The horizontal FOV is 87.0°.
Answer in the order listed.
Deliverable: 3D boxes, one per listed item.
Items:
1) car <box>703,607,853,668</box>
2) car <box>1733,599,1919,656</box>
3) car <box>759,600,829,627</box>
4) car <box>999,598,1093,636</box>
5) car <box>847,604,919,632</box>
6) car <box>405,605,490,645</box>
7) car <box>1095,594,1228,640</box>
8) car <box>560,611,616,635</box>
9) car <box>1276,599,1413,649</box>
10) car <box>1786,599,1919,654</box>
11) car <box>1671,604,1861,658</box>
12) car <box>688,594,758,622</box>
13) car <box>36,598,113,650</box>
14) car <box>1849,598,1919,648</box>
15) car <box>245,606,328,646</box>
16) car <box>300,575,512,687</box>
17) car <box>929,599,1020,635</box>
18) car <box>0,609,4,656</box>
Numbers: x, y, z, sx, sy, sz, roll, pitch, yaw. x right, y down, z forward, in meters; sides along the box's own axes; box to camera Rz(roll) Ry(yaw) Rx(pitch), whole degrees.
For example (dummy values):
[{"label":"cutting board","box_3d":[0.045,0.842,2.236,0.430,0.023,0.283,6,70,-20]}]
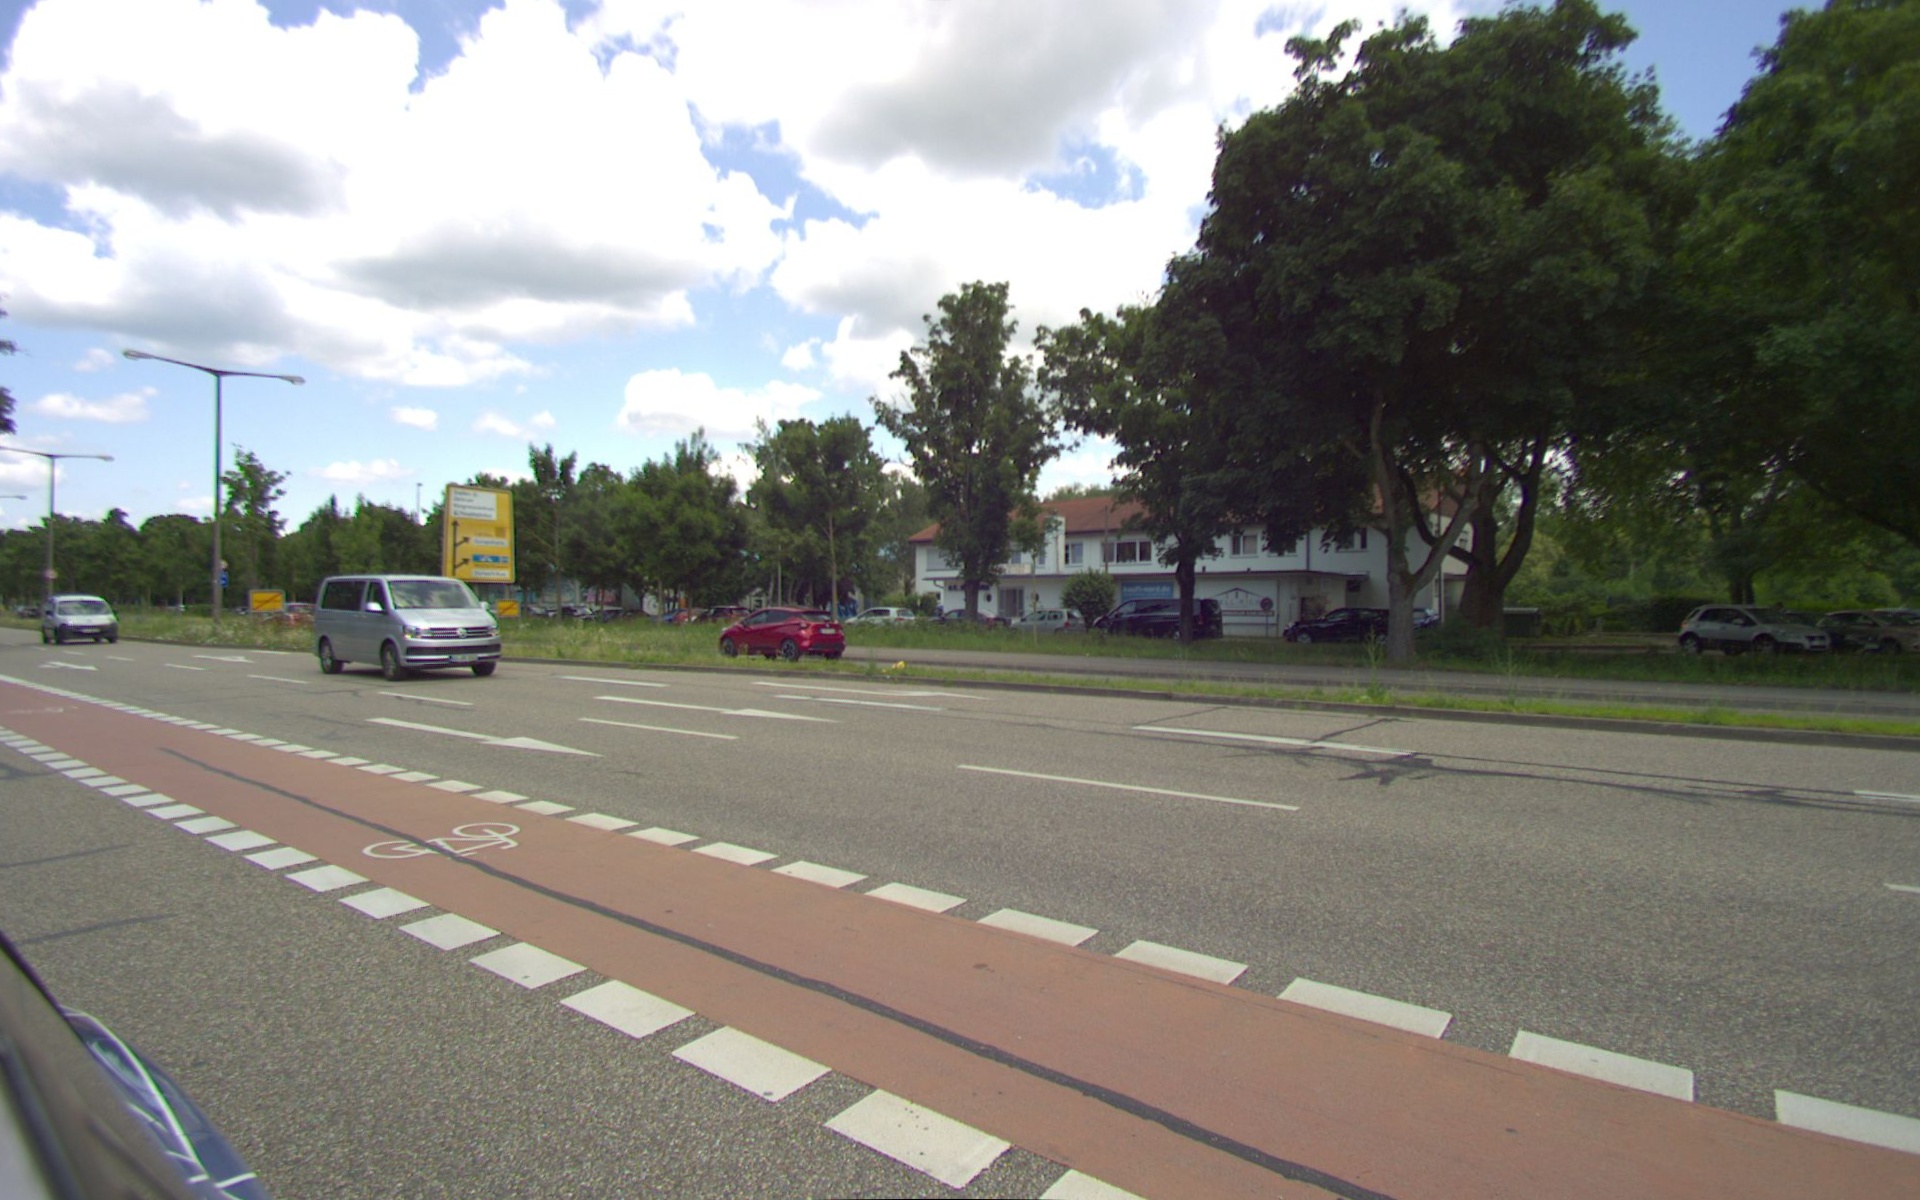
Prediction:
[{"label":"car","box_3d":[-4.988,0.958,27.556,3.995,1.523,1.869,0,0,38]},{"label":"car","box_3d":[26.318,0.814,30.822,1.967,1.600,4.033,1,-1,-13]},{"label":"car","box_3d":[-8.938,0.742,54.365,3.864,1.422,1.707,-1,-1,42]},{"label":"car","box_3d":[3.716,0.737,43.924,3.665,1.600,1.896,-1,-1,41]},{"label":"car","box_3d":[-3.823,0.873,50.037,3.475,1.342,1.604,-1,-1,42]},{"label":"car","box_3d":[-20.065,0.940,39.581,3.589,1.456,1.596,0,0,38]},{"label":"car","box_3d":[7.907,0.658,39.975,4.927,1.724,1.863,-1,-1,42]},{"label":"car","box_3d":[-25.790,1.570,70.038,4.021,1.600,1.972,-1,-1,42]},{"label":"car","box_3d":[13.647,0.799,35.962,4.347,1.670,1.794,0,0,30]},{"label":"car","box_3d":[28.607,0.845,31.520,1.967,1.600,4.033,1,-2,-13]},{"label":"car","box_3d":[23.825,0.897,30.122,1.967,1.495,4.033,1,-1,-13]},{"label":"car","box_3d":[-13.727,0.488,58.570,4.021,1.600,1.972,-1,-1,42]},{"label":"car","box_3d":[-33.050,0.852,37.739,4.156,1.799,1.724,0,0,43]},{"label":"car","box_3d":[31.034,0.725,31.956,1.967,1.557,4.033,1,-1,-13]},{"label":"car","box_3d":[-28.715,1.071,43.087,3.998,1.630,1.973,-1,-1,41]},{"label":"car","box_3d":[-10.928,0.557,19.778,5.227,1.933,1.795,0,-1,39]},{"label":"car","box_3d":[0.648,0.774,46.497,4.021,1.600,1.739,-1,-1,42]},{"label":"car","box_3d":[-32.083,1.012,32.560,3.702,1.475,1.583,-1,-2,41]}]
